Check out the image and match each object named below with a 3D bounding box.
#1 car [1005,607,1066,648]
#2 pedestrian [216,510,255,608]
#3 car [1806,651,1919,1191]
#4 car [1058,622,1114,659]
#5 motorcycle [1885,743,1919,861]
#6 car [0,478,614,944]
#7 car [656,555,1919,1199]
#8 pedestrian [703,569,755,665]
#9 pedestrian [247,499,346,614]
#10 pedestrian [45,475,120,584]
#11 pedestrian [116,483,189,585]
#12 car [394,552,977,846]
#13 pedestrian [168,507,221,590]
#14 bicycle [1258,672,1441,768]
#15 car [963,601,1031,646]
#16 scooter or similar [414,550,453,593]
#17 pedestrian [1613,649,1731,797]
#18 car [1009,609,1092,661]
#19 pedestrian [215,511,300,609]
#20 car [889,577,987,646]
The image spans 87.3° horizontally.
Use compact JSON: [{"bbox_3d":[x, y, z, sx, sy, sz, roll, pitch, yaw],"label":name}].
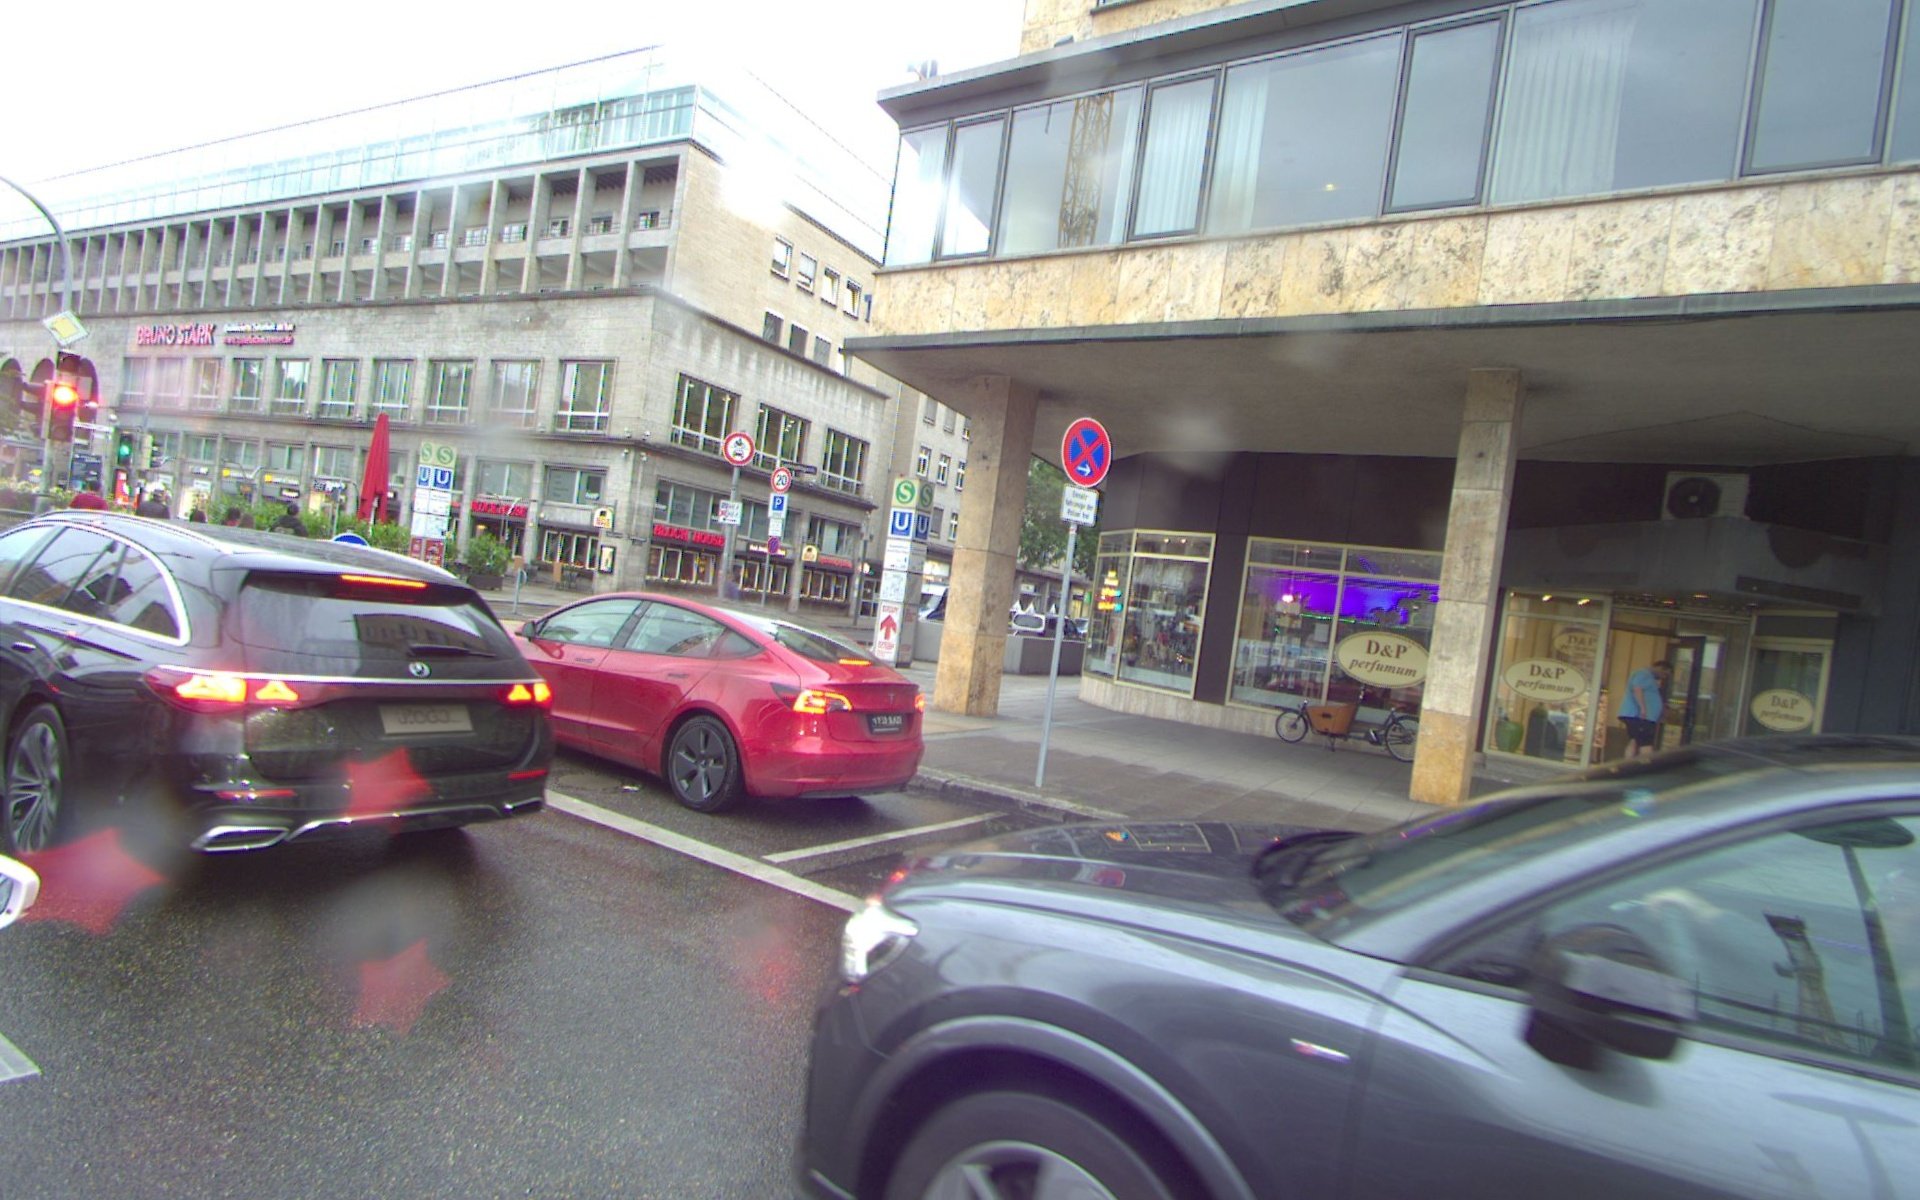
[{"bbox_3d":[4.786,1.755,63.085,1.966,2.065,4.483,7,-2,29],"label":"car"},{"bbox_3d":[-13.655,-0.774,18.951,0.479,1.774,0.659,4,2,-38],"label":"pedestrian"},{"bbox_3d":[5.965,1.421,3.002,4.853,1.942,1.878,6,-2,31],"label":"car"},{"bbox_3d":[8.849,2.849,70.344,1.966,2.065,4.833,7,-2,30],"label":"car"},{"bbox_3d":[11.142,2.277,10.485,2.074,1.232,0.567,6,-2,40],"label":"motorcycle"},{"bbox_3d":[-4.153,0.275,5.351,4.552,1.519,1.797,6,-2,32],"label":"car"},{"bbox_3d":[1.694,0.950,1.881,4.271,1.519,1.882,6,-2,32],"label":"car"},{"bbox_3d":[-4.544,0.327,19.791,0.768,1.777,0.503,8,-1,-15],"label":"pedestrian"},{"bbox_3d":[-11.023,-0.705,16.735,0.642,1.774,1.097,7,2,29],"label":"pedestrian"},{"bbox_3d":[-15.245,-1.209,17.501,0.561,1.772,0.678,7,-1,-15],"label":"pedestrian"},{"bbox_3d":[-14.884,-1.205,18.548,0.458,1.737,0.757,7,-1,28],"label":"pedestrian"},{"bbox_3d":[-2.324,0.647,8.147,4.451,1.503,1.878,6,-2,31],"label":"car"},{"bbox_3d":[-14.162,-0.946,18.622,0.627,1.444,0.485,8,-1,-36],"label":"pedestrian"},{"bbox_3d":[5.915,1.804,15.349,2.431,1.058,0.657,6,-1,32],"label":"bicycle"},{"bbox_3d":[2.194,1.397,58.447,1.966,2.065,4.557,7,-2,29],"label":"car"},{"bbox_3d":[-16.366,-0.880,31.263,1.000,1.203,0.291,7,-1,13],"label":"scooter or similar"},{"bbox_3d":[9.720,1.664,13.741,1.119,1.811,0.798,6,-1,39],"label":"pedestrian"},{"bbox_3d":[4.256,1.668,46.744,1.966,1.995,4.638,7,-1,29],"label":"car"},{"bbox_3d":[-12.944,-0.738,18.544,0.884,1.645,0.795,7,-1,28],"label":"pedestrian"},{"bbox_3d":[-0.996,0.665,51.273,1.965,2.792,6.186,7,-2,28],"label":"car"}]
